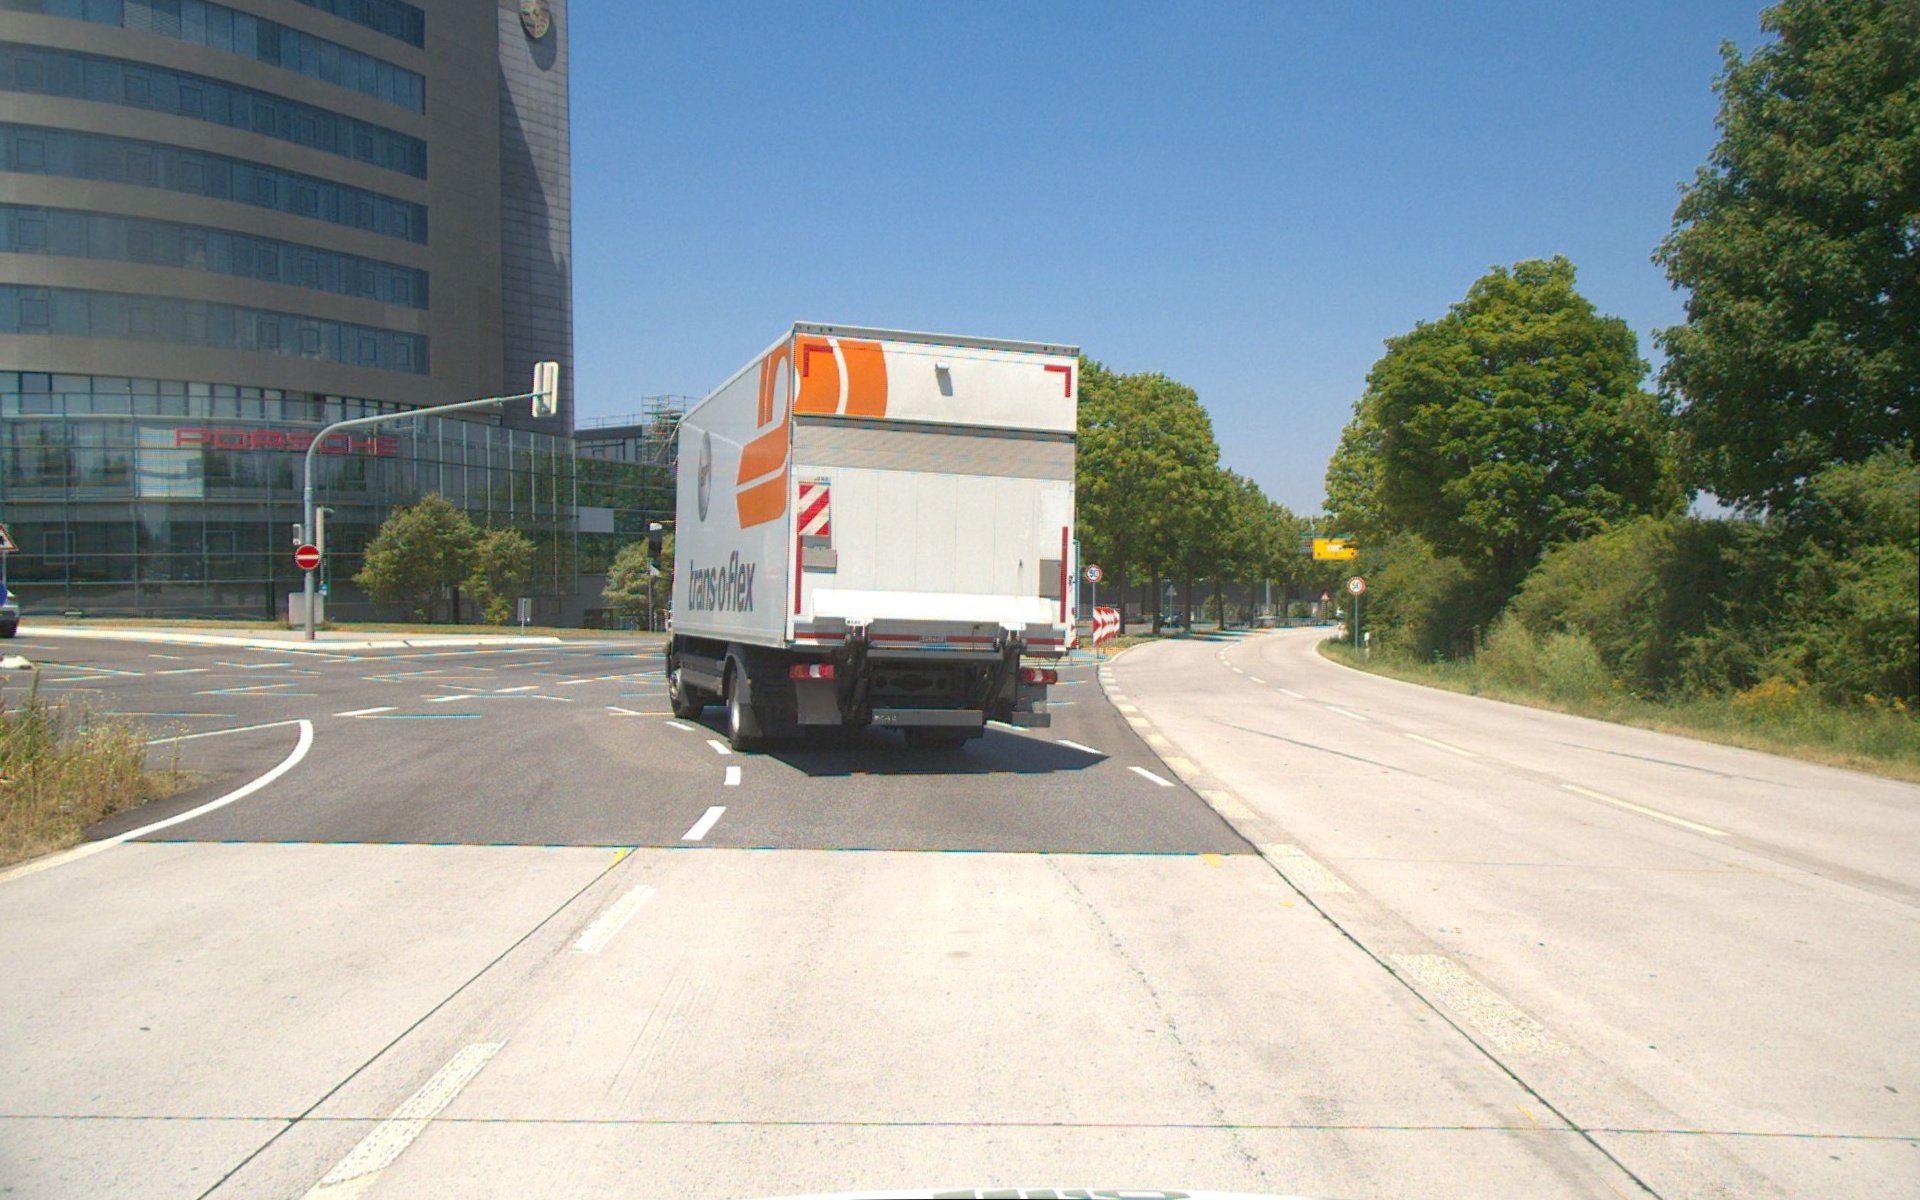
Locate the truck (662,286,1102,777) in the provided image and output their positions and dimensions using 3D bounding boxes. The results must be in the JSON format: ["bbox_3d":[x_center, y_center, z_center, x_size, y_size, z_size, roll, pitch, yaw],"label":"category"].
[{"bbox_3d":[-1.396,-0.513,18.088,2.724,3.927,9.329,1,0,-16],"label":"truck"}]

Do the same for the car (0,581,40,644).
[{"bbox_3d":[-25.752,0.287,42.474,3.909,1.584,1.806,1,-1,27],"label":"car"}]
